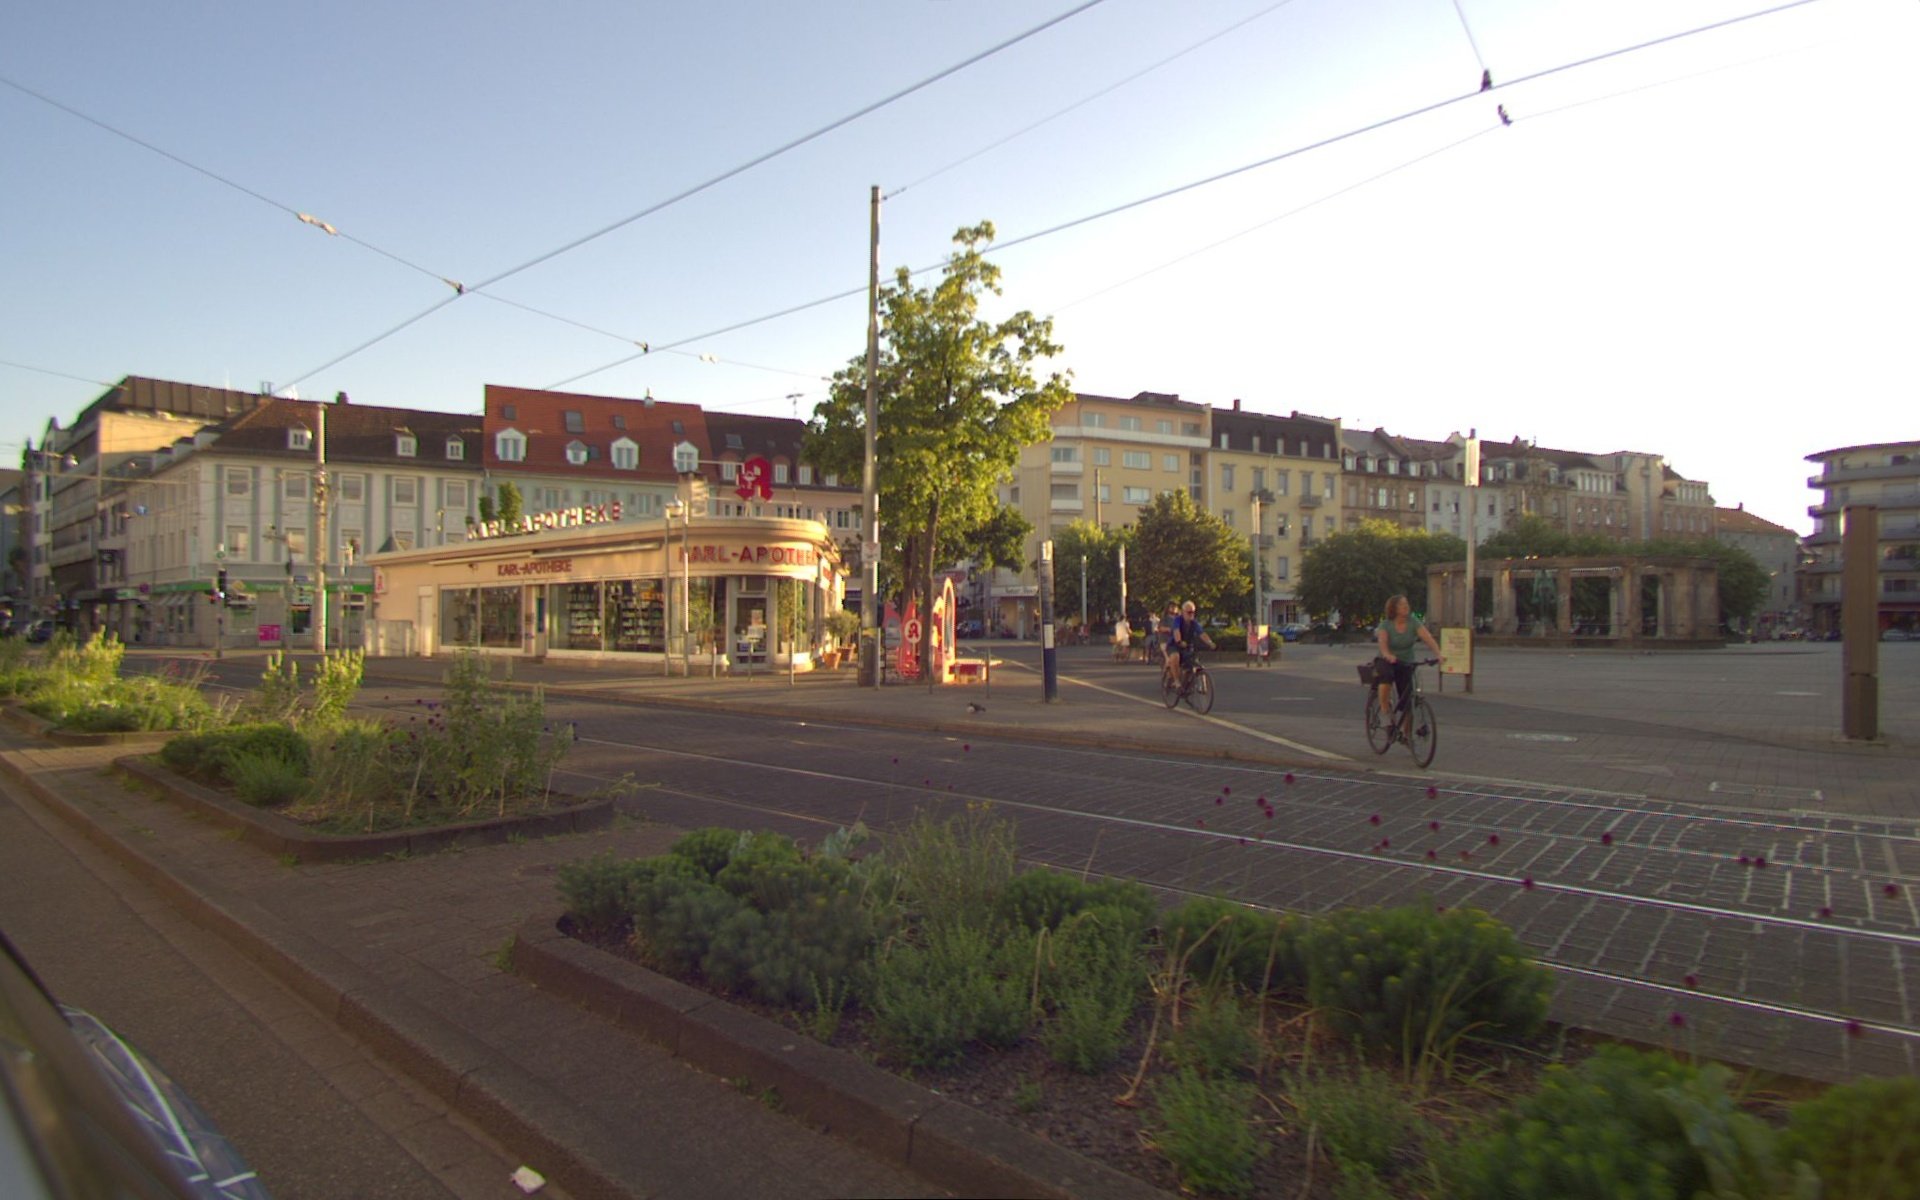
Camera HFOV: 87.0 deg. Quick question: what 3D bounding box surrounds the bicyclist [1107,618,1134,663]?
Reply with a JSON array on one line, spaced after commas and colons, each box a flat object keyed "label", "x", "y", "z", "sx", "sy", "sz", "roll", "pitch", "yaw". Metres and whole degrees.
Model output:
[{"label": "bicyclist", "x": 5.519, "y": 1.395, "z": 34.810, "sx": 0.677, "sy": 1.531, "sz": 0.648, "roll": -2, "pitch": -2, "yaw": 40}]

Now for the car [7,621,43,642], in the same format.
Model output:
[{"label": "car", "x": -78.625, "y": 2.645, "z": 85.052, "sx": 3.998, "sy": 1.569, "sz": 1.796, "roll": 1, "pitch": -1, "yaw": 41}]

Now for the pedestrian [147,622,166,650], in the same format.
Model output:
[{"label": "pedestrian", "x": -48.430, "y": 2.149, "z": 61.019, "sx": 0.814, "sy": 1.653, "sz": 0.816, "roll": 0, "pitch": 0, "yaw": -33}]

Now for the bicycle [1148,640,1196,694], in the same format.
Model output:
[{"label": "bicycle", "x": 4.617, "y": 1.450, "z": 22.146, "sx": 0.488, "sy": 1.120, "sz": 1.714, "roll": 1, "pitch": -2, "yaw": -7}]

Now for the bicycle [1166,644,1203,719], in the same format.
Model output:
[{"label": "bicycle", "x": 3.644, "y": 1.292, "z": 16.506, "sx": 0.455, "sy": 1.120, "sz": 1.922, "roll": 1, "pitch": -2, "yaw": 9}]

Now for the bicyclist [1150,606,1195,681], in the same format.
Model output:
[{"label": "bicyclist", "x": 4.627, "y": 0.941, "z": 22.096, "sx": 0.742, "sy": 1.588, "sz": 0.704, "roll": 1, "pitch": -1, "yaw": -7}]

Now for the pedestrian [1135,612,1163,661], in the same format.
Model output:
[{"label": "pedestrian", "x": 6.651, "y": 1.294, "z": 35.655, "sx": 0.666, "sy": 1.688, "sz": 0.659, "roll": 2, "pitch": -1, "yaw": -33}]

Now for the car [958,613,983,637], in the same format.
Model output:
[{"label": "car", "x": 0.909, "y": 2.195, "z": 90.194, "sx": 1.971, "sy": 2.029, "sz": 4.001, "roll": 1, "pitch": -1, "yaw": -2}]

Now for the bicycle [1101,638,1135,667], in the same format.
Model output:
[{"label": "bicycle", "x": 5.435, "y": 1.790, "z": 34.695, "sx": 0.425, "sy": 0.922, "sz": 1.509, "roll": 1, "pitch": -1, "yaw": 40}]

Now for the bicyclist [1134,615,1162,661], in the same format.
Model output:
[{"label": "bicyclist", "x": 6.330, "y": 1.260, "z": 34.165, "sx": 0.666, "sy": 1.531, "sz": 0.659, "roll": 0, "pitch": -1, "yaw": -20}]

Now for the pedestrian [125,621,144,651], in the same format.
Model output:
[{"label": "pedestrian", "x": -49.788, "y": 2.162, "z": 61.039, "sx": 0.814, "sy": 1.741, "sz": 0.815, "roll": 0, "pitch": -1, "yaw": -36}]

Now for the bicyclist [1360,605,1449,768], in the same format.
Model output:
[{"label": "bicyclist", "x": 4.780, "y": 0.903, "z": 10.922, "sx": 0.620, "sy": 1.681, "sz": 0.704, "roll": 1, "pitch": -1, "yaw": 2}]

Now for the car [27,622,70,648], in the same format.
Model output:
[{"label": "car", "x": -67.819, "y": 2.598, "z": 75.269, "sx": 4.127, "sy": 1.809, "sz": 1.890, "roll": 0, "pitch": 0, "yaw": 40}]

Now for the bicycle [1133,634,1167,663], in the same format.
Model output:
[{"label": "bicycle", "x": 6.386, "y": 1.626, "z": 34.089, "sx": 0.418, "sy": 0.922, "sz": 1.432, "roll": 2, "pitch": -1, "yaw": -20}]

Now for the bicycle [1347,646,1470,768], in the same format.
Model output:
[{"label": "bicycle", "x": 4.765, "y": 1.088, "z": 10.890, "sx": 0.454, "sy": 1.120, "sz": 1.936, "roll": 1, "pitch": -1, "yaw": 0}]

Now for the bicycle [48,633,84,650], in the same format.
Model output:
[{"label": "bicycle", "x": -58.860, "y": 2.725, "z": 66.654, "sx": 1.715, "sy": 1.067, "sz": 0.499, "roll": 2, "pitch": -4, "yaw": -41}]

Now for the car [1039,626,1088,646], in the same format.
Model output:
[{"label": "car", "x": 7.763, "y": 2.691, "z": 75.765, "sx": 3.294, "sy": 1.479, "sz": 1.555, "roll": 2, "pitch": -2, "yaw": -26}]

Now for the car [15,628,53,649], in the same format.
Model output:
[{"label": "car", "x": -72.577, "y": 3.001, "z": 79.295, "sx": 3.997, "sy": 1.636, "sz": 1.679, "roll": -2, "pitch": -2, "yaw": 40}]

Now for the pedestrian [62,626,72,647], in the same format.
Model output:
[{"label": "pedestrian", "x": -72.744, "y": 2.974, "z": 82.451, "sx": 0.583, "sy": 1.697, "sz": 0.503, "roll": 0, "pitch": -1, "yaw": 40}]

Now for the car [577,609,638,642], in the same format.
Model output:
[{"label": "car", "x": -22.919, "y": 1.641, "z": 65.775, "sx": 3.998, "sy": 2.029, "sz": 1.973, "roll": 1, "pitch": -1, "yaw": 41}]

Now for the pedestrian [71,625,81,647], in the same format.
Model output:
[{"label": "pedestrian", "x": -72.400, "y": 2.956, "z": 82.864, "sx": 0.600, "sy": 1.747, "sz": 0.509, "roll": 1, "pitch": -1, "yaw": 41}]

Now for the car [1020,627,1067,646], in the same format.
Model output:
[{"label": "car", "x": 6.531, "y": 2.839, "z": 79.374, "sx": 3.294, "sy": 1.495, "sz": 1.555, "roll": 1, "pitch": -2, "yaw": -26}]

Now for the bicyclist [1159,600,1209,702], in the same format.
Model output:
[{"label": "bicyclist", "x": 3.657, "y": 0.826, "z": 16.564, "sx": 0.731, "sy": 1.624, "sz": 0.800, "roll": -1, "pitch": -1, "yaw": 10}]
